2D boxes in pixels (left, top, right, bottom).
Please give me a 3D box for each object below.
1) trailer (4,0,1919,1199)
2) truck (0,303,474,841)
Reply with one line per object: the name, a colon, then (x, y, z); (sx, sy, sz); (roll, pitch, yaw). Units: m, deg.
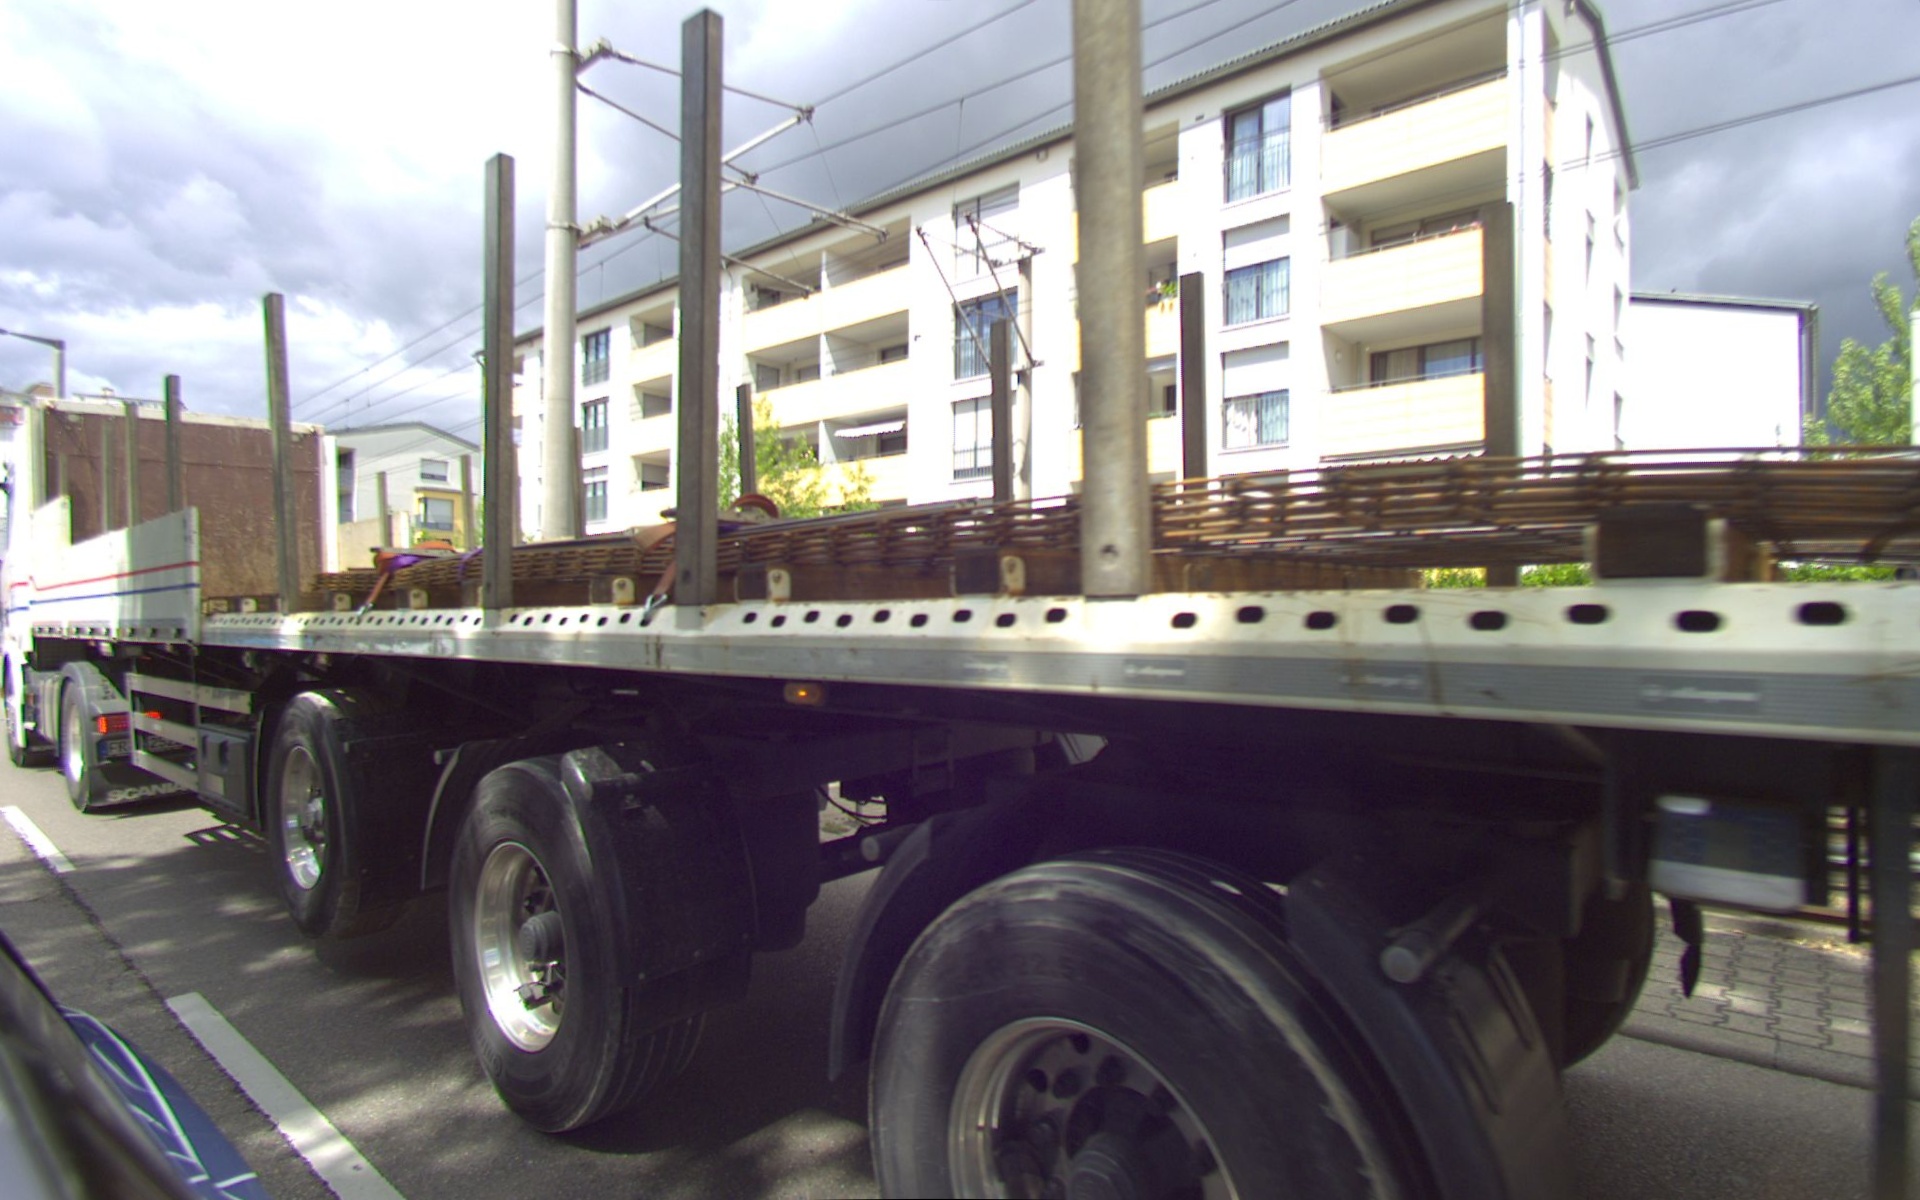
trailer: (-2.660, -0.285, 5.547); (13.670, 3.607, 2.669); (-2, -1, 42)
truck: (-7.395, -0.118, 9.838); (6.143, 3.607, 2.669); (-2, -1, 42)
